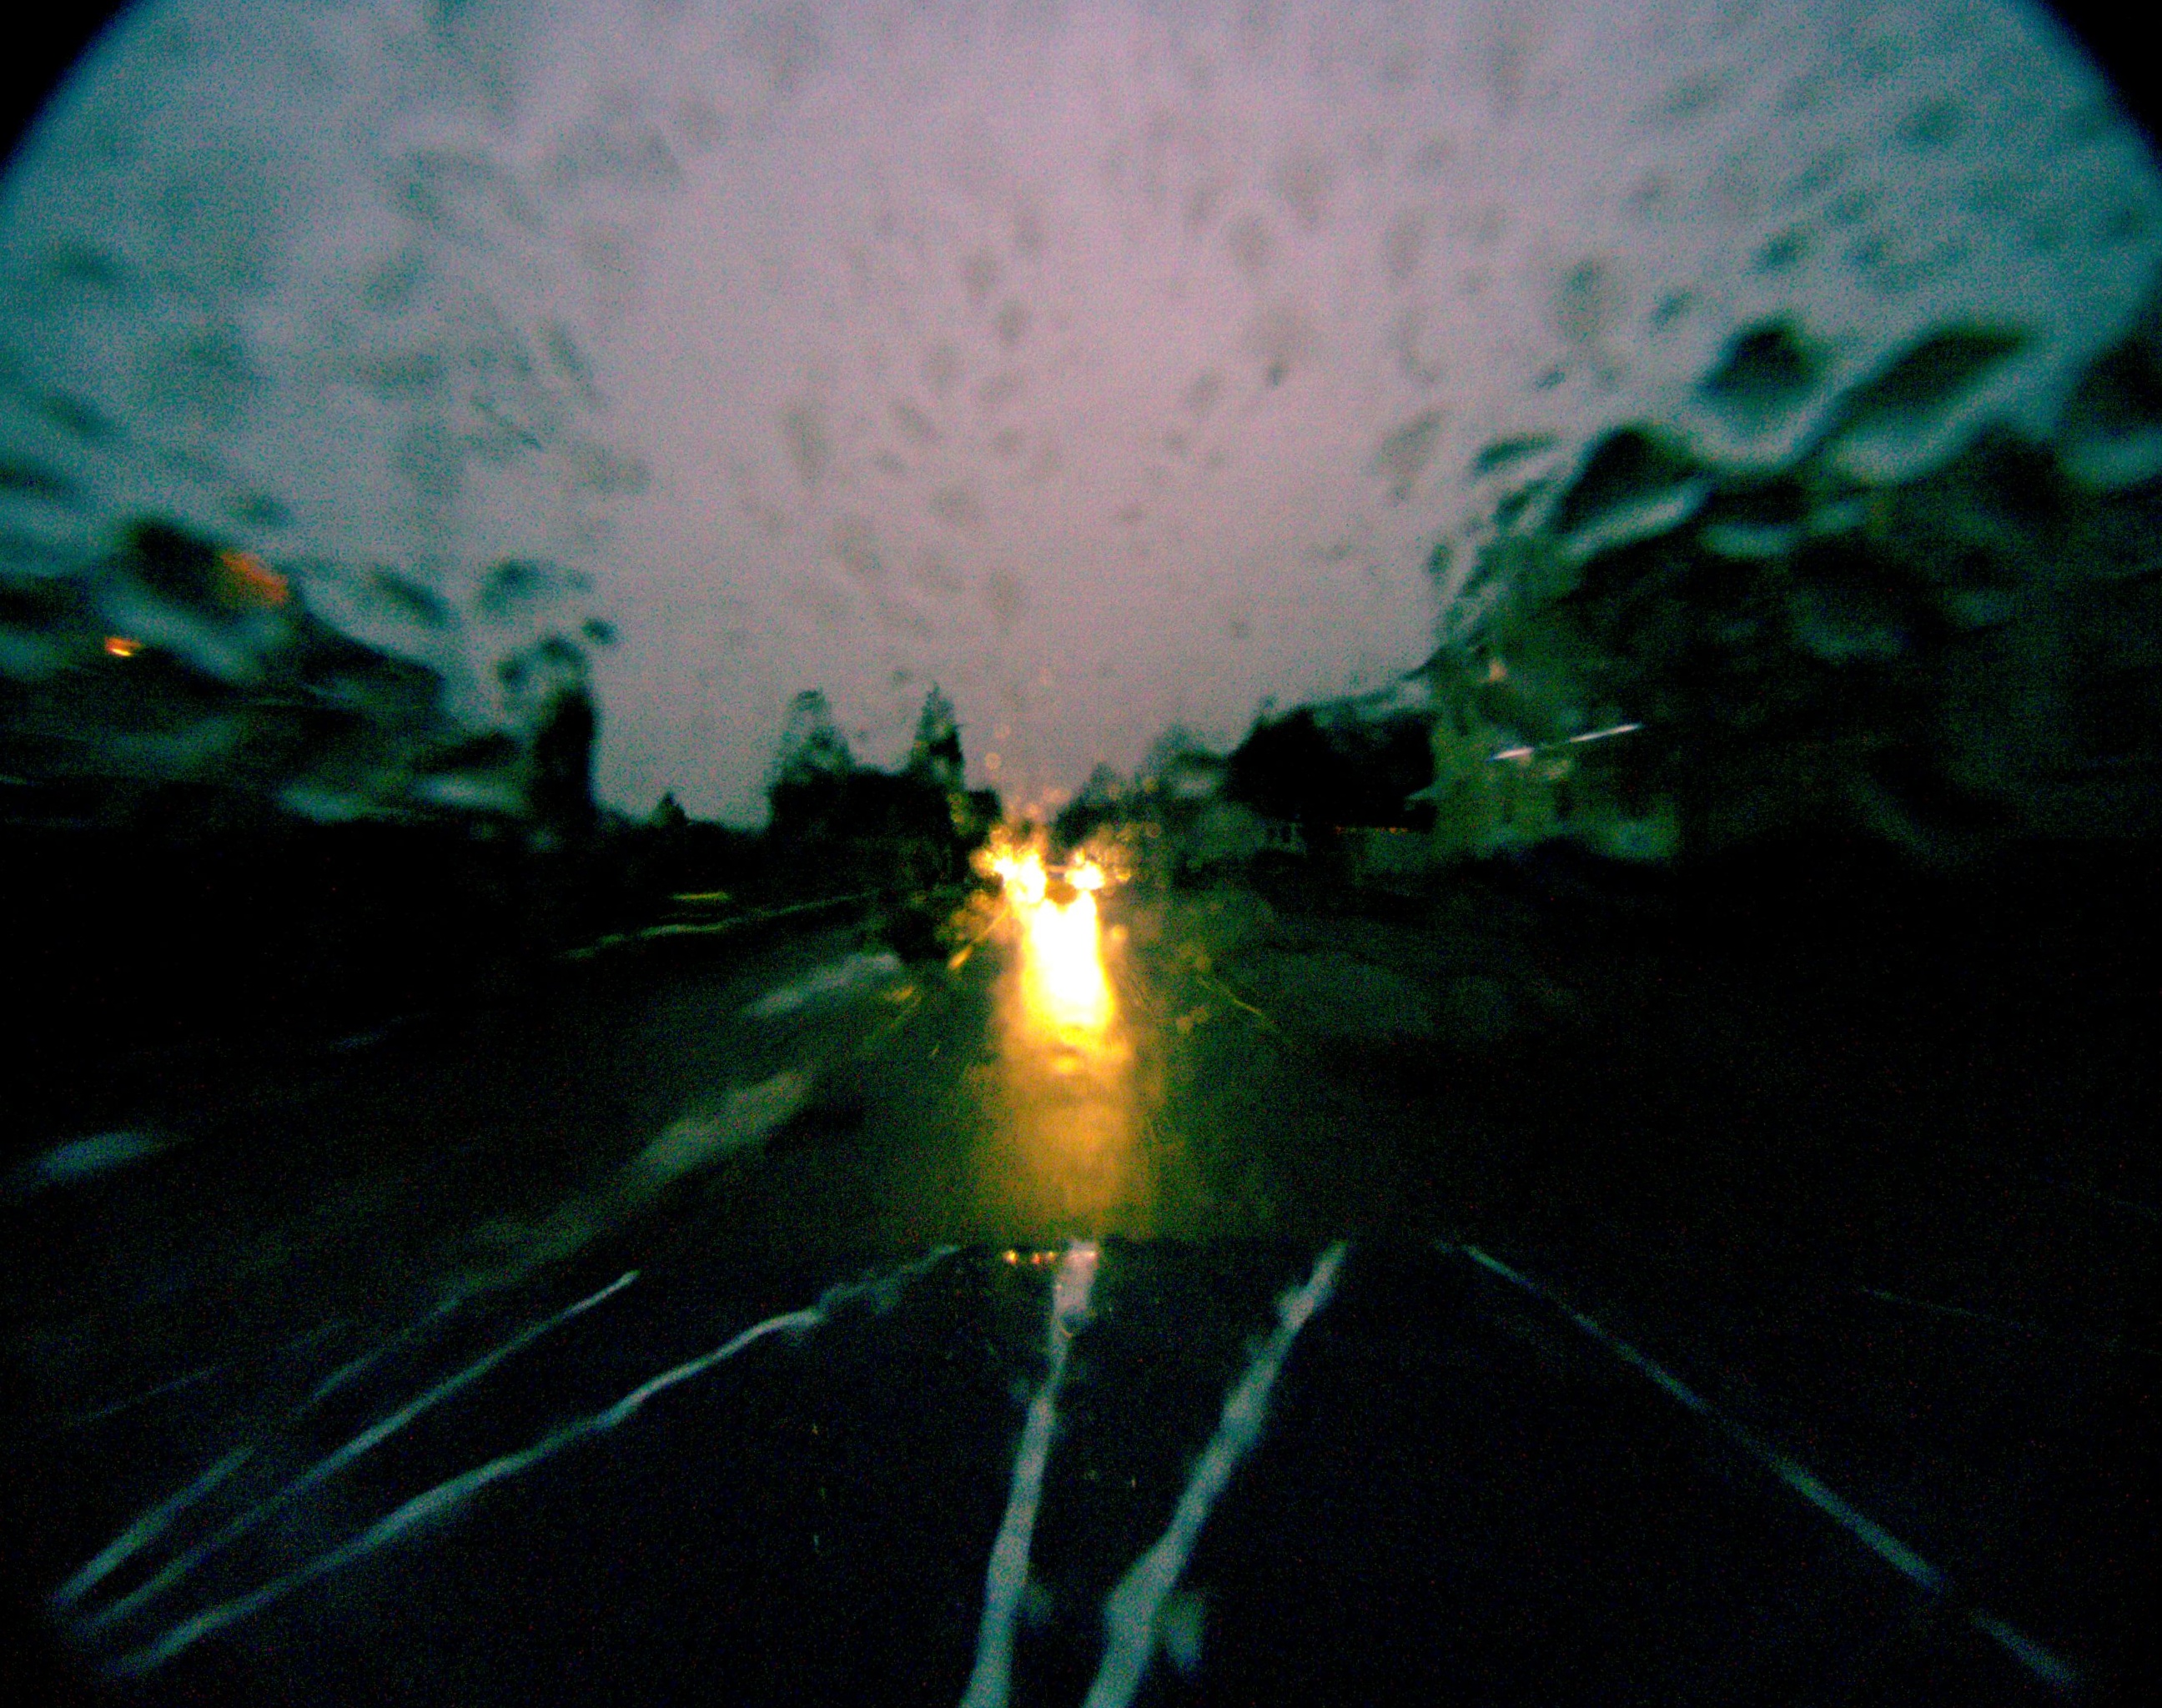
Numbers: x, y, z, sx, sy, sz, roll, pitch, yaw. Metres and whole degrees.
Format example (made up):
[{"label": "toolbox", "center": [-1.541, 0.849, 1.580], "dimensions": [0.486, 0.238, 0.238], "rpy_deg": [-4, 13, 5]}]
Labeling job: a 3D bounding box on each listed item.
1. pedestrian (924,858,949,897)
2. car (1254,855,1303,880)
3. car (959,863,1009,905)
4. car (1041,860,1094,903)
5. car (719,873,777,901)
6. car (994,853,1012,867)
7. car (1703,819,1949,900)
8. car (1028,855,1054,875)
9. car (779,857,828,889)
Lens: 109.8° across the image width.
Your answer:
[{"label": "pedestrian", "center": [-6.516, 1.057, 34.277], "dimensions": [0.990, 1.731, 1.055], "rpy_deg": [-1, 1, -4]}, {"label": "car", "center": [12.036, 0.782, 46.511], "dimensions": [1.786, 1.358, 3.999], "rpy_deg": [-3, 1, -2]}, {"label": "car", "center": [-3.860, 1.156, 30.605], "dimensions": [1.654, 1.531, 3.389], "rpy_deg": [1, 0, -2]}, {"label": "car", "center": [-0.608, 1.082, 30.995], "dimensions": [1.999, 1.575, 3.999], "rpy_deg": [-2, 0, -3]}, {"label": "car", "center": [-18.899, 1.834, 43.313], "dimensions": [1.810, 1.367, 3.997], "rpy_deg": [-2, 1, -6]}, {"label": "car", "center": [-10.304, 0.774, 100.135], "dimensions": [1.777, 1.608, 3.868], "rpy_deg": [-3, 1, -14]}, {"label": "car", "center": [17.362, 0.123, 17.833], "dimensions": [3.998, 1.591, 1.921], "rpy_deg": [-3, 0, -4]}, {"label": "car", "center": [-3.634, 0.944, 67.850], "dimensions": [2.000, 1.660, 3.997], "rpy_deg": [-3, 0, -7]}, {"label": "car", "center": [-16.206, 1.078, 44.598], "dimensions": [1.947, 1.653, 4.226], "rpy_deg": [-2, 1, -10]}]
